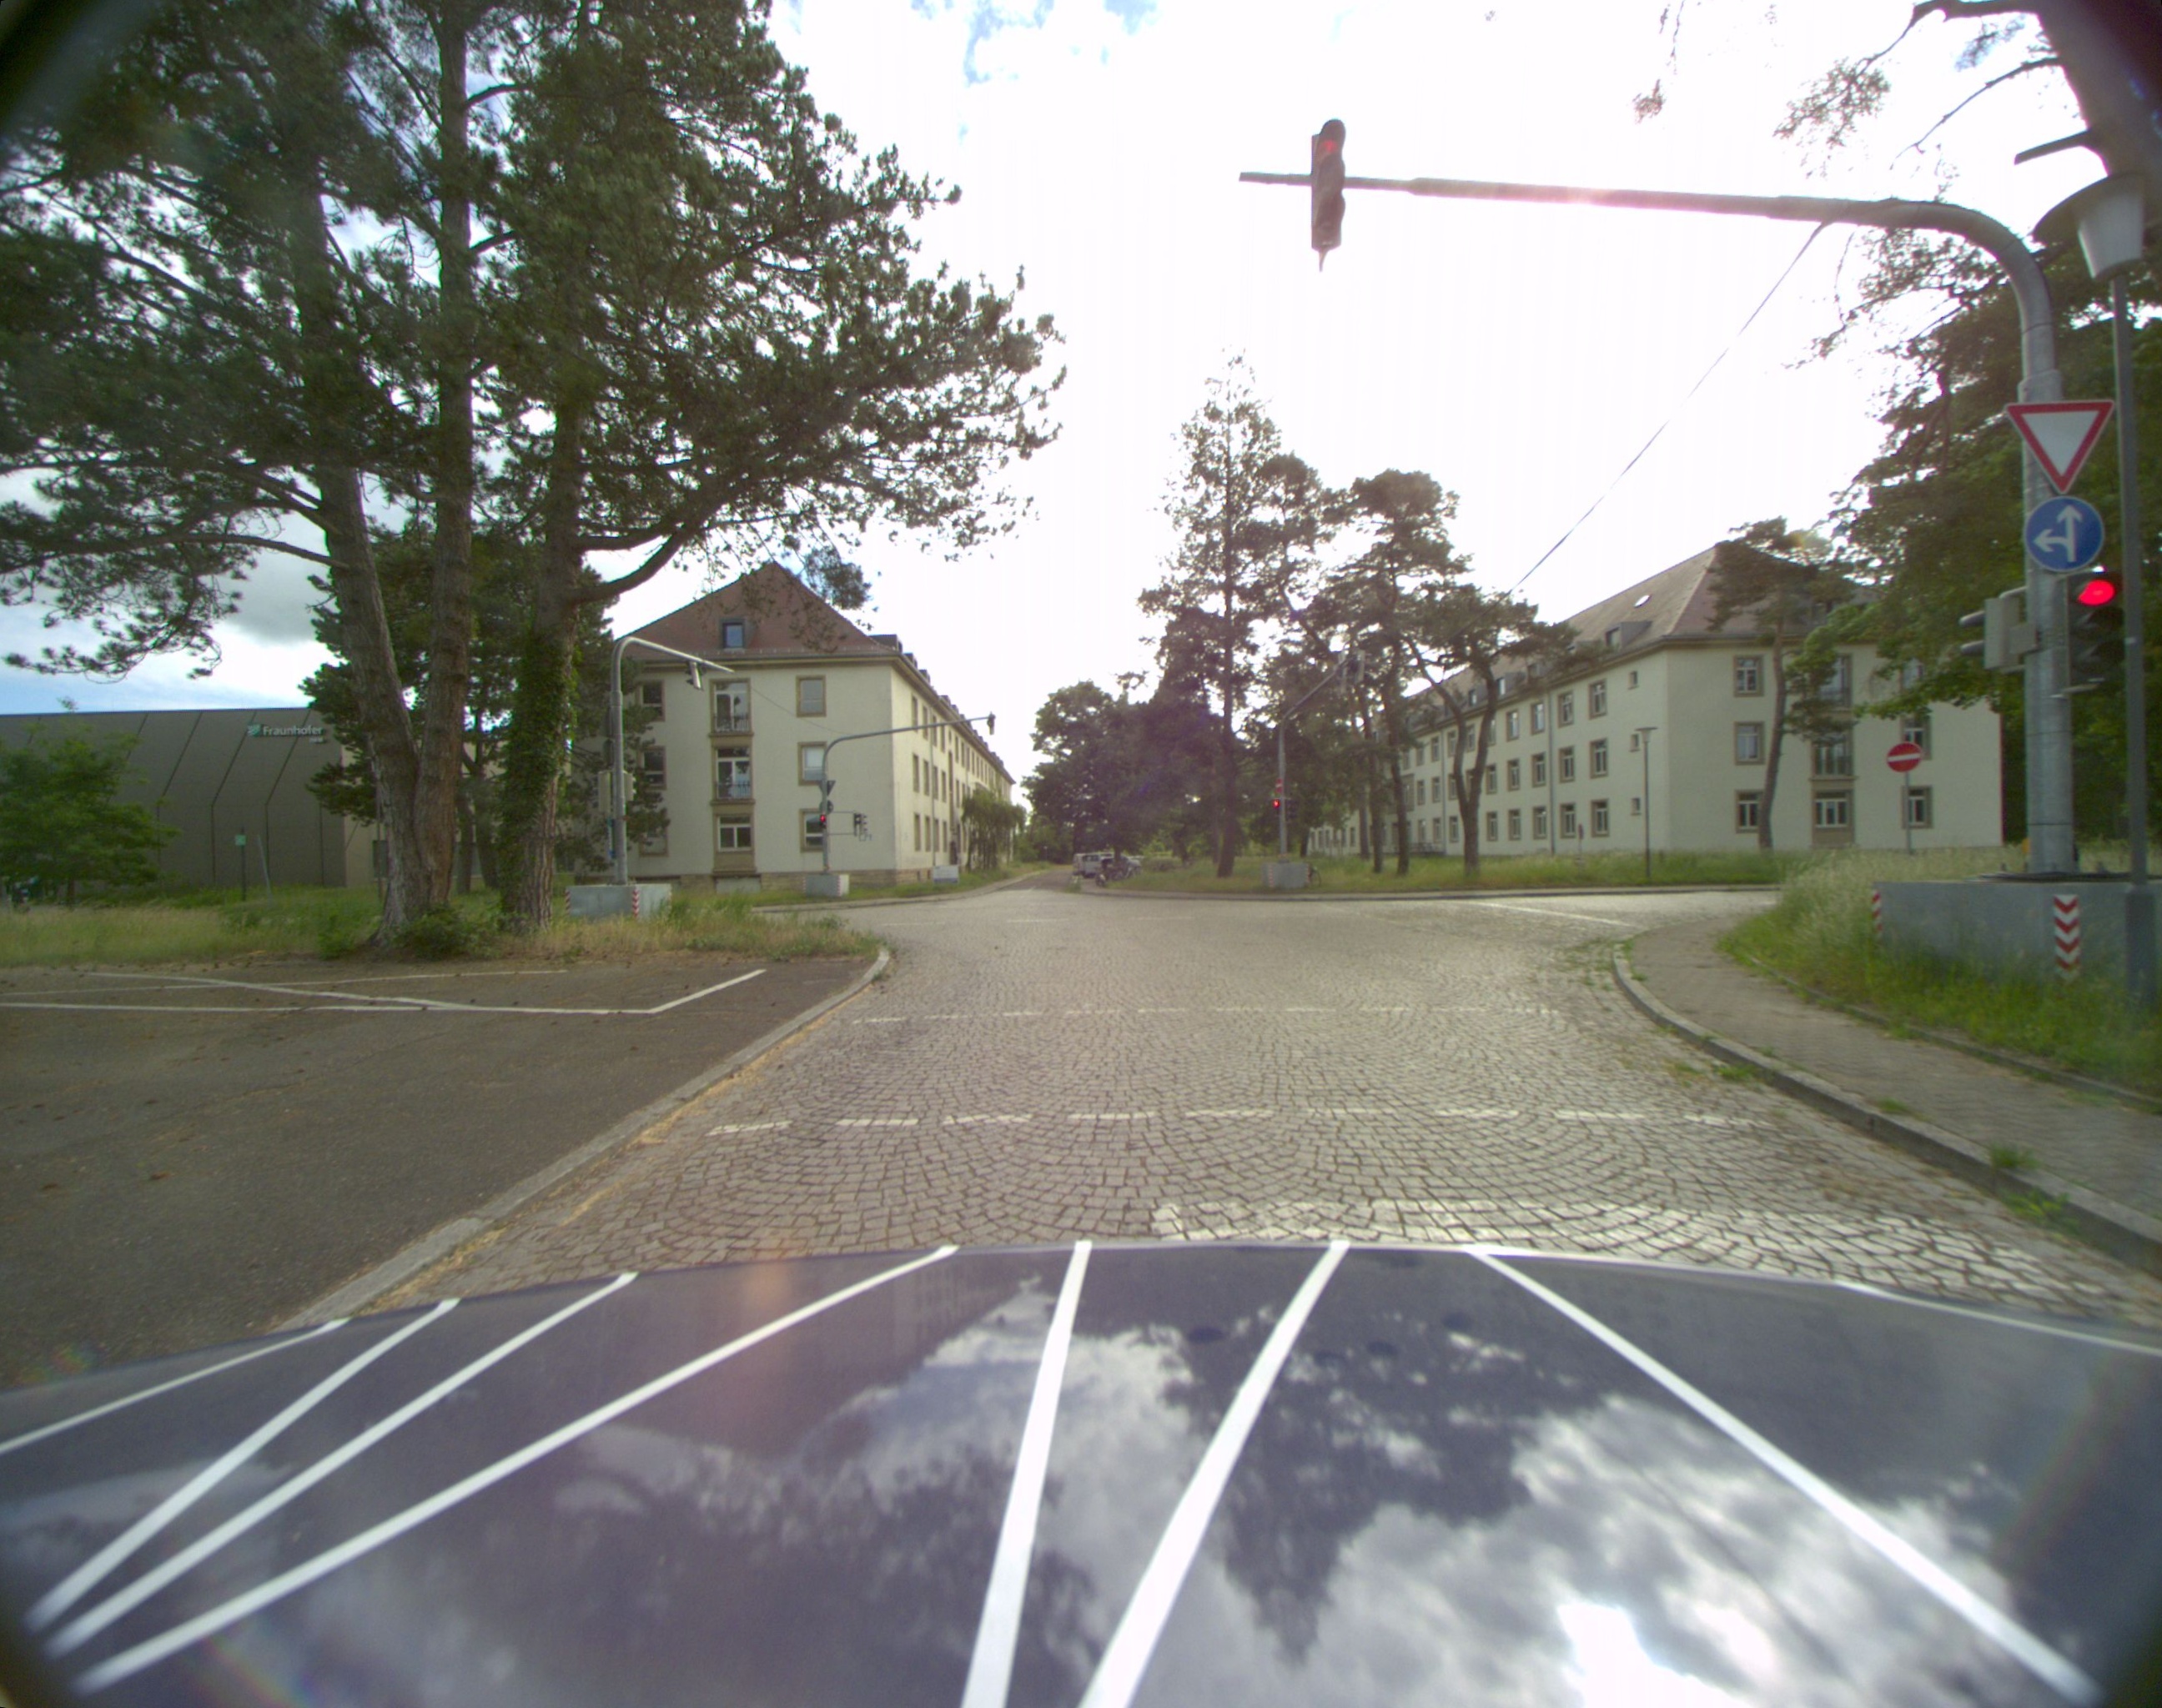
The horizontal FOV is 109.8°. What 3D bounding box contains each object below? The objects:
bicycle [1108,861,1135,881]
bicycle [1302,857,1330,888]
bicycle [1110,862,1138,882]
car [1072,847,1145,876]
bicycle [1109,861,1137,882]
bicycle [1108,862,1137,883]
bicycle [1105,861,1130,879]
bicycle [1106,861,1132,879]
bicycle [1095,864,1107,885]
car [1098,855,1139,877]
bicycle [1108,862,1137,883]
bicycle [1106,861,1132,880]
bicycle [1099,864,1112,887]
[{"bbox_3d":[2.313,0.966,43.717,1.457,1.033,0.497,-4,1,-5],"label":"bicycle"},{"bbox_3d":[8.739,0.669,28.277,0.497,1.068,1.416,-4,1,-3],"label":"bicycle"},{"bbox_3d":[2.407,0.991,42.441,1.457,1.033,0.497,-4,1,-5],"label":"bicycle"},{"bbox_3d":[2.135,0.591,58.718,5.172,1.905,2.034,-3,0,-13],"label":"car"},{"bbox_3d":[2.380,0.982,43.026,1.457,1.033,0.497,-4,1,-5],"label":"bicycle"},{"bbox_3d":[2.211,0.982,40.611,1.457,1.033,0.497,-4,1,-7],"label":"bicycle"},{"bbox_3d":[2.270,0.981,47.324,1.457,1.033,0.497,-4,1,-5],"label":"bicycle"},{"bbox_3d":[2.323,0.977,46.849,1.457,1.033,0.497,-4,1,-5],"label":"bicycle"},{"bbox_3d":[1.018,1.051,39.223,0.497,1.032,1.416,-4,1,0],"label":"bicycle"},{"bbox_3d":[2.704,0.881,55.381,2.771,1.407,1.592,-4,0,-1],"label":"car"},{"bbox_3d":[2.275,0.992,41.407,1.457,1.033,0.497,-4,1,-5],"label":"bicycle"},{"bbox_3d":[2.308,0.967,45.800,1.457,1.033,0.497,-4,1,-5],"label":"bicycle"},{"bbox_3d":[1.200,1.054,37.618,0.497,1.068,1.416,-4,1,0],"label":"bicycle"}]
